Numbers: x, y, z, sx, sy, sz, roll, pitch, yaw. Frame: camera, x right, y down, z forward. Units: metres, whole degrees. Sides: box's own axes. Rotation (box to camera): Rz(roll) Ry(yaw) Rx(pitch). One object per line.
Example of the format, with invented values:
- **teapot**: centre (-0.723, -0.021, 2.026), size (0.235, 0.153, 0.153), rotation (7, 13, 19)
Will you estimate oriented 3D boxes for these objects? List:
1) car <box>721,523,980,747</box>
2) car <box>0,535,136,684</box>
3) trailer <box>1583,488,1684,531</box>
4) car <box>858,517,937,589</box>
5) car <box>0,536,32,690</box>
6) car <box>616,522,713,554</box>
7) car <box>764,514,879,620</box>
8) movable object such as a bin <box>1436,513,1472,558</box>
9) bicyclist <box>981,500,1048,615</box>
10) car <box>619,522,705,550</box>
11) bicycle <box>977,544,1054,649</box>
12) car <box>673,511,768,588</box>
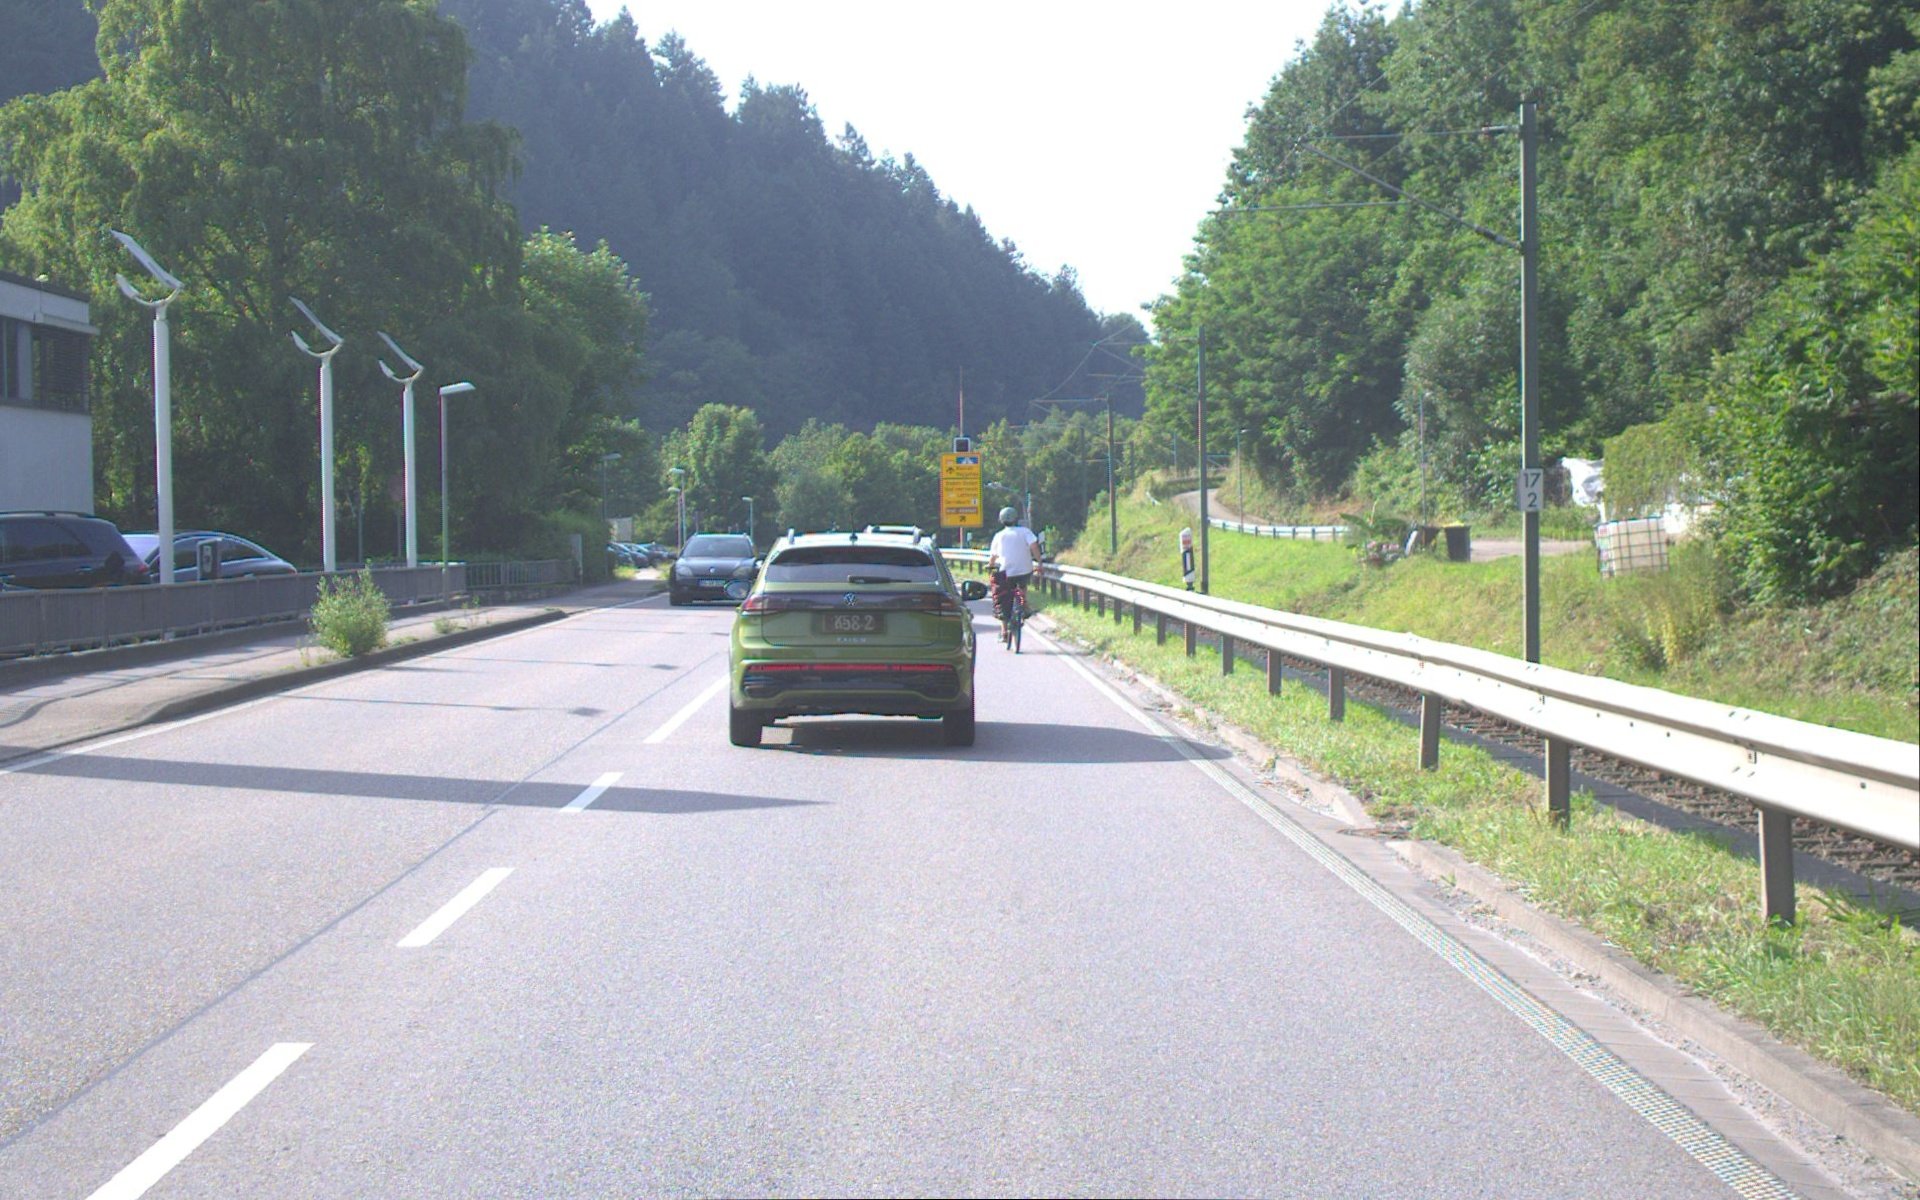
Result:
- **car**: centre (-0.801, 0.191, 25.086), size (1.739, 1.503, 4.001), rotation (0, 1, -2)
- **car**: centre (-10.387, 0.121, 33.727), size (1.709, 1.434, 4.727), rotation (0, 2, 29)
- **trailer**: centre (19.777, -2.648, 101.017), size (2.066, 1.188, 3.715), rotation (1, 1, -3)
- **car**: centre (-1.477, -1.111, 79.904), size (1.739, 1.596, 4.001), rotation (-1, 1, -2)
- **car**: centre (-10.307, 0.176, 29.466), size (1.709, 1.370, 4.727), rotation (0, 2, 29)
- **car**: centre (-13.393, -2.814, 156.019), size (4.259, 1.428, 1.557), rotation (0, 1, 0)
- **car**: centre (-2.163, -0.545, 54.285), size (1.739, 1.596, 4.001), rotation (0, 1, -2)
- **movable object such as a bin**: centre (12.427, -1.628, 86.491), size (0.855, 1.103, 0.934), rotation (0, 1, 5)
- **bicyclist**: centre (0.674, -0.531, 42.773), size (0.781, 1.407, 0.675), rotation (0, 1, -3)
- **car**: centre (-15.310, -3.307, 176.810), size (4.259, 1.428, 1.557), rotation (0, 1, 0)
- **bicycle**: centre (0.682, -0.058, 42.698), size (0.811, 1.246, 2.123), rotation (0, 1, -3)
- **car**: centre (-4.821, -1.046, 69.745), size (1.677, 1.480, 4.246), rotation (1, 1, -1)
